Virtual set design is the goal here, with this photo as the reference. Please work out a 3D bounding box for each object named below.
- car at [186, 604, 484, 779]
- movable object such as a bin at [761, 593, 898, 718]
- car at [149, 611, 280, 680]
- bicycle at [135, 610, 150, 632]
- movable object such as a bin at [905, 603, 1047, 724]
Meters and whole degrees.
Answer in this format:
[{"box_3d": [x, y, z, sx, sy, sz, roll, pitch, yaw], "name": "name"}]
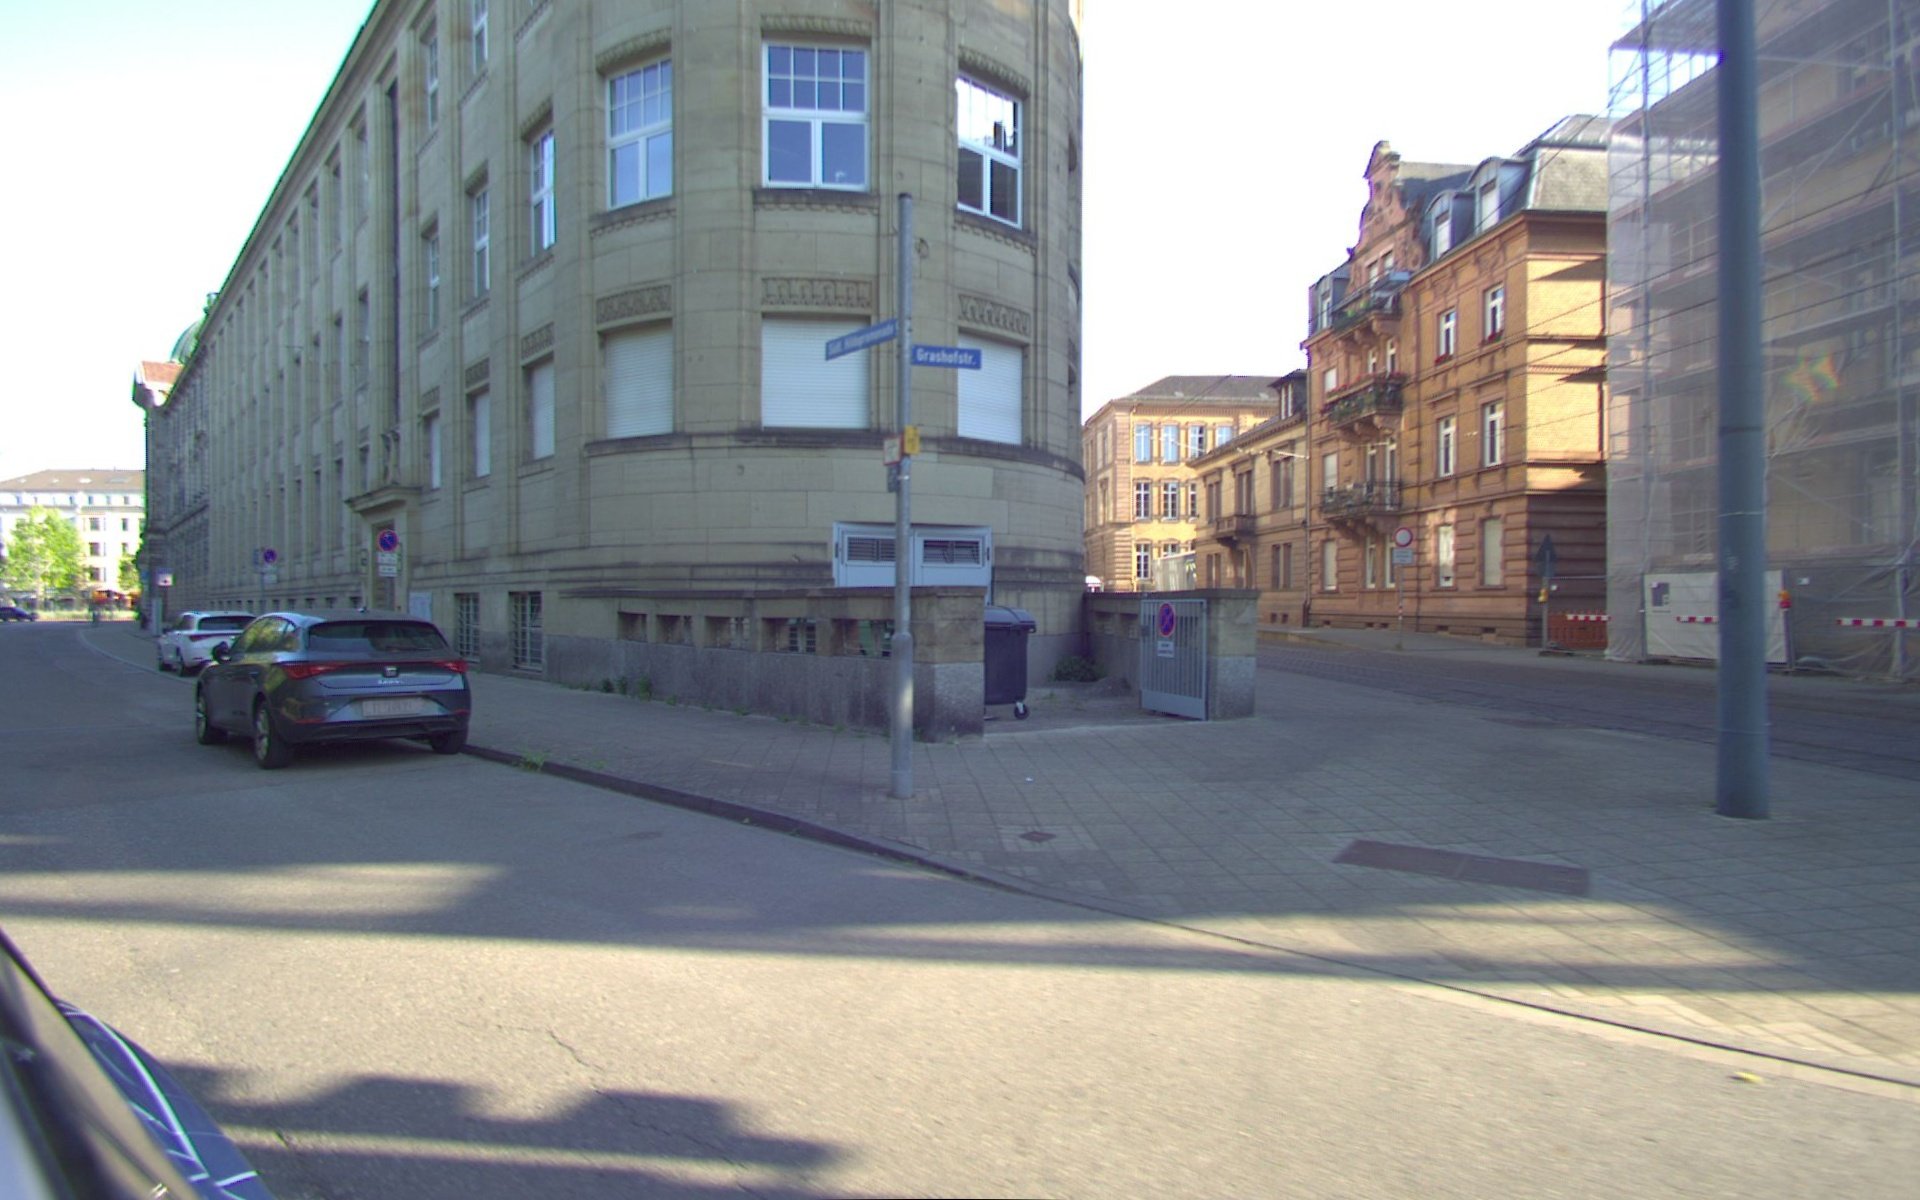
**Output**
[{"box_3d": [-6.652, 0.795, 10.565, 4.210, 1.459, 1.724, -1, -1, 45], "name": "car"}, {"box_3d": [-1.719, 0.677, 13.163, 1.131, 1.497, 1.631, 0, -1, -36], "name": "movable object such as a bin"}, {"box_3d": [-17.616, 1.005, 23.826, 4.562, 1.445, 1.724, -1, 0, 44], "name": "car"}, {"box_3d": [-46.116, 1.204, 57.104, 0.450, 1.218, 1.883, 1, -1, -34], "name": "bicycle"}, {"box_3d": [0.158, 0.777, 13.177, 1.166, 1.439, 1.928, 0, -1, -23], "name": "movable object such as a bin"}]
